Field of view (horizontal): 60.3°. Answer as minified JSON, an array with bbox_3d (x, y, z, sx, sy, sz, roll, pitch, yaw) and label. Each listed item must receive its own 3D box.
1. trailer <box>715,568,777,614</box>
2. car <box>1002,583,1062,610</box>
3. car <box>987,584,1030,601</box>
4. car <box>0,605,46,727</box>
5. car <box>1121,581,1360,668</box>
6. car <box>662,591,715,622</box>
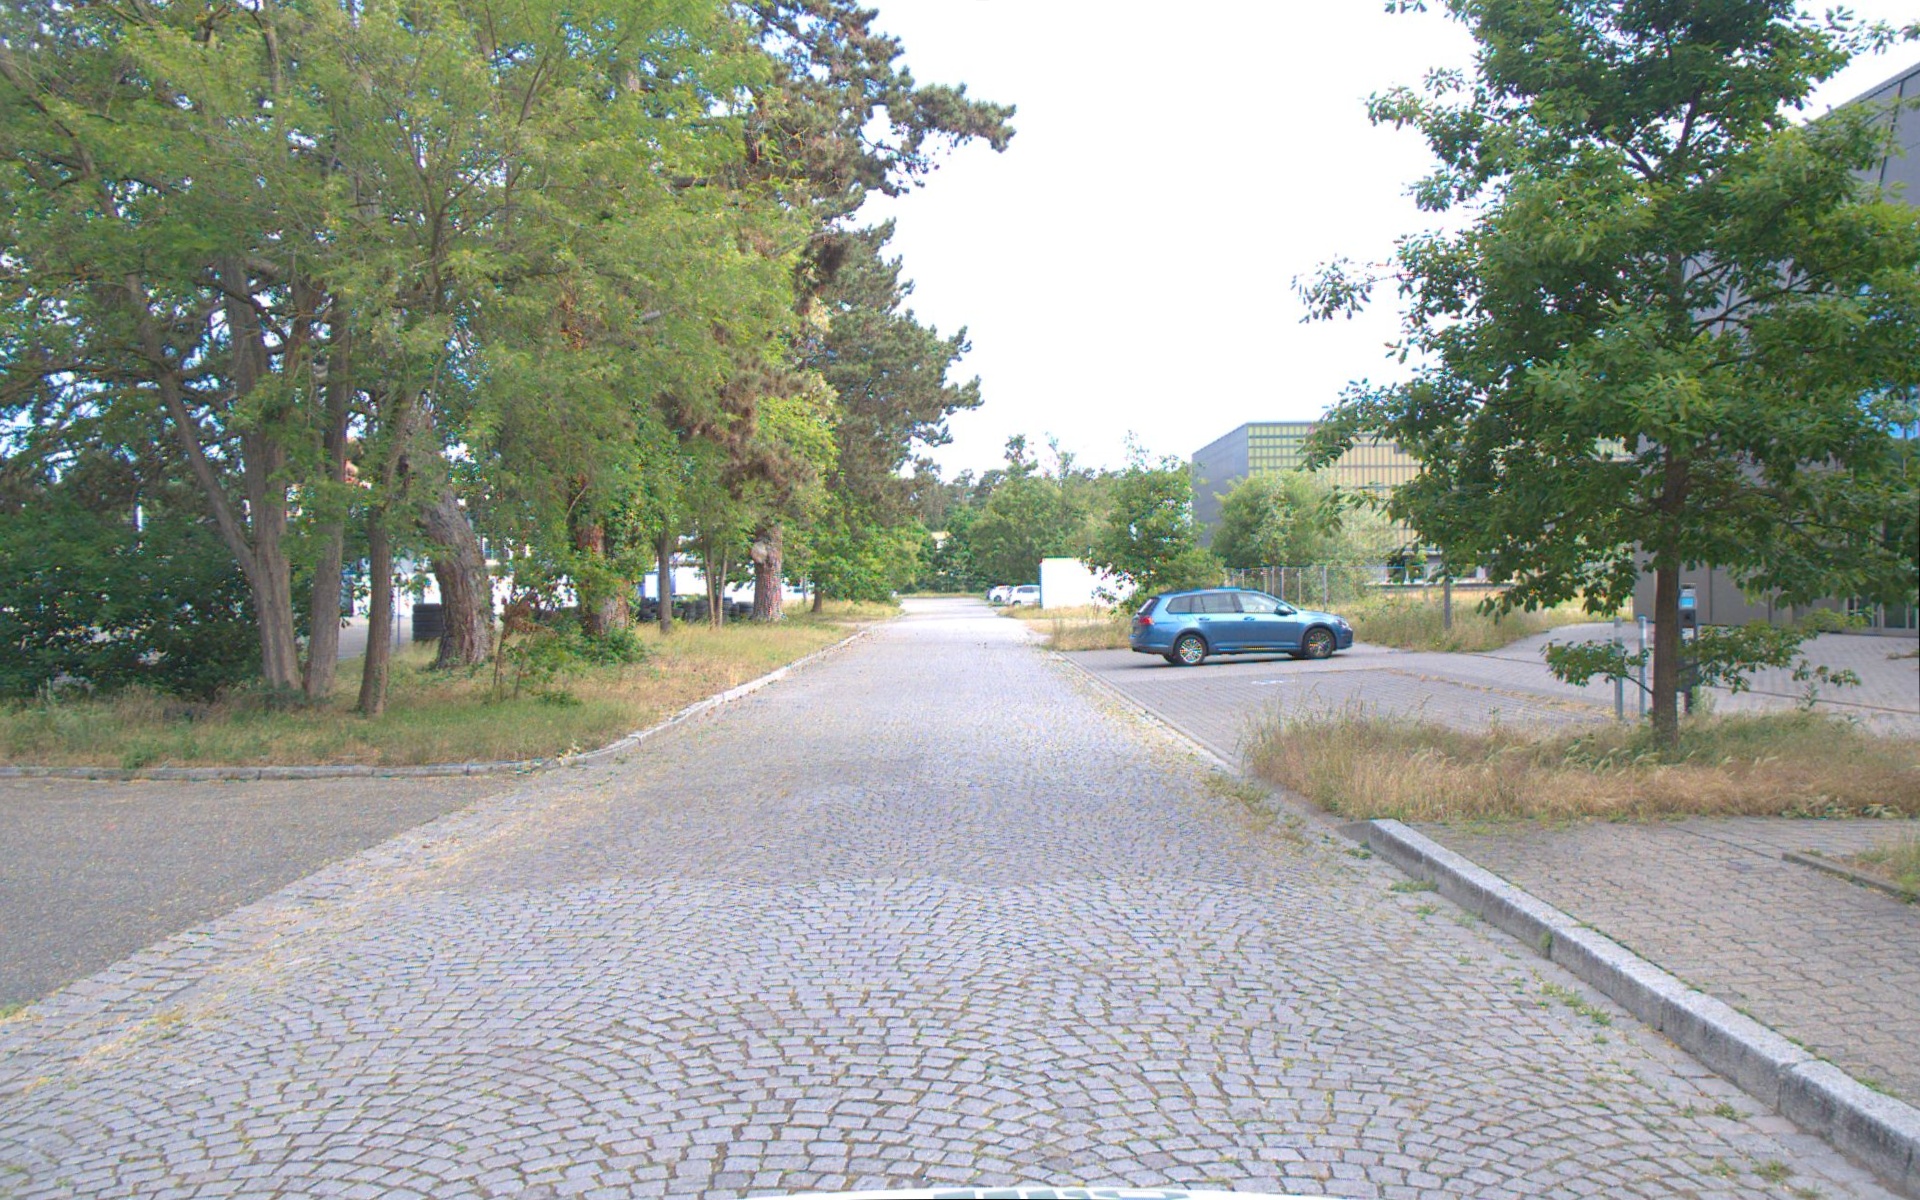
[{"bbox_3d":[-15.379,-0.656,119.472,3.093,3.121,8.786,-1,1,1],"label":"trailer"},{"bbox_3d":[4.648,-0.221,107.026,3.773,1.683,1.685,-1,0,-3],"label":"car"},{"bbox_3d":[4.516,-0.694,153.175,3.942,1.528,1.548,-1,0,0],"label":"car"},{"bbox_3d":[-12.402,0.831,18.810,1.681,1.463,4.465,-1,1,-3],"label":"car"},{"bbox_3d":[5.628,0.463,33.490,4.433,1.468,1.822,-3,1,-4],"label":"car"},{"bbox_3d":[-13.455,0.318,82.046,1.729,1.478,3.490,-1,0,5],"label":"car"}]
